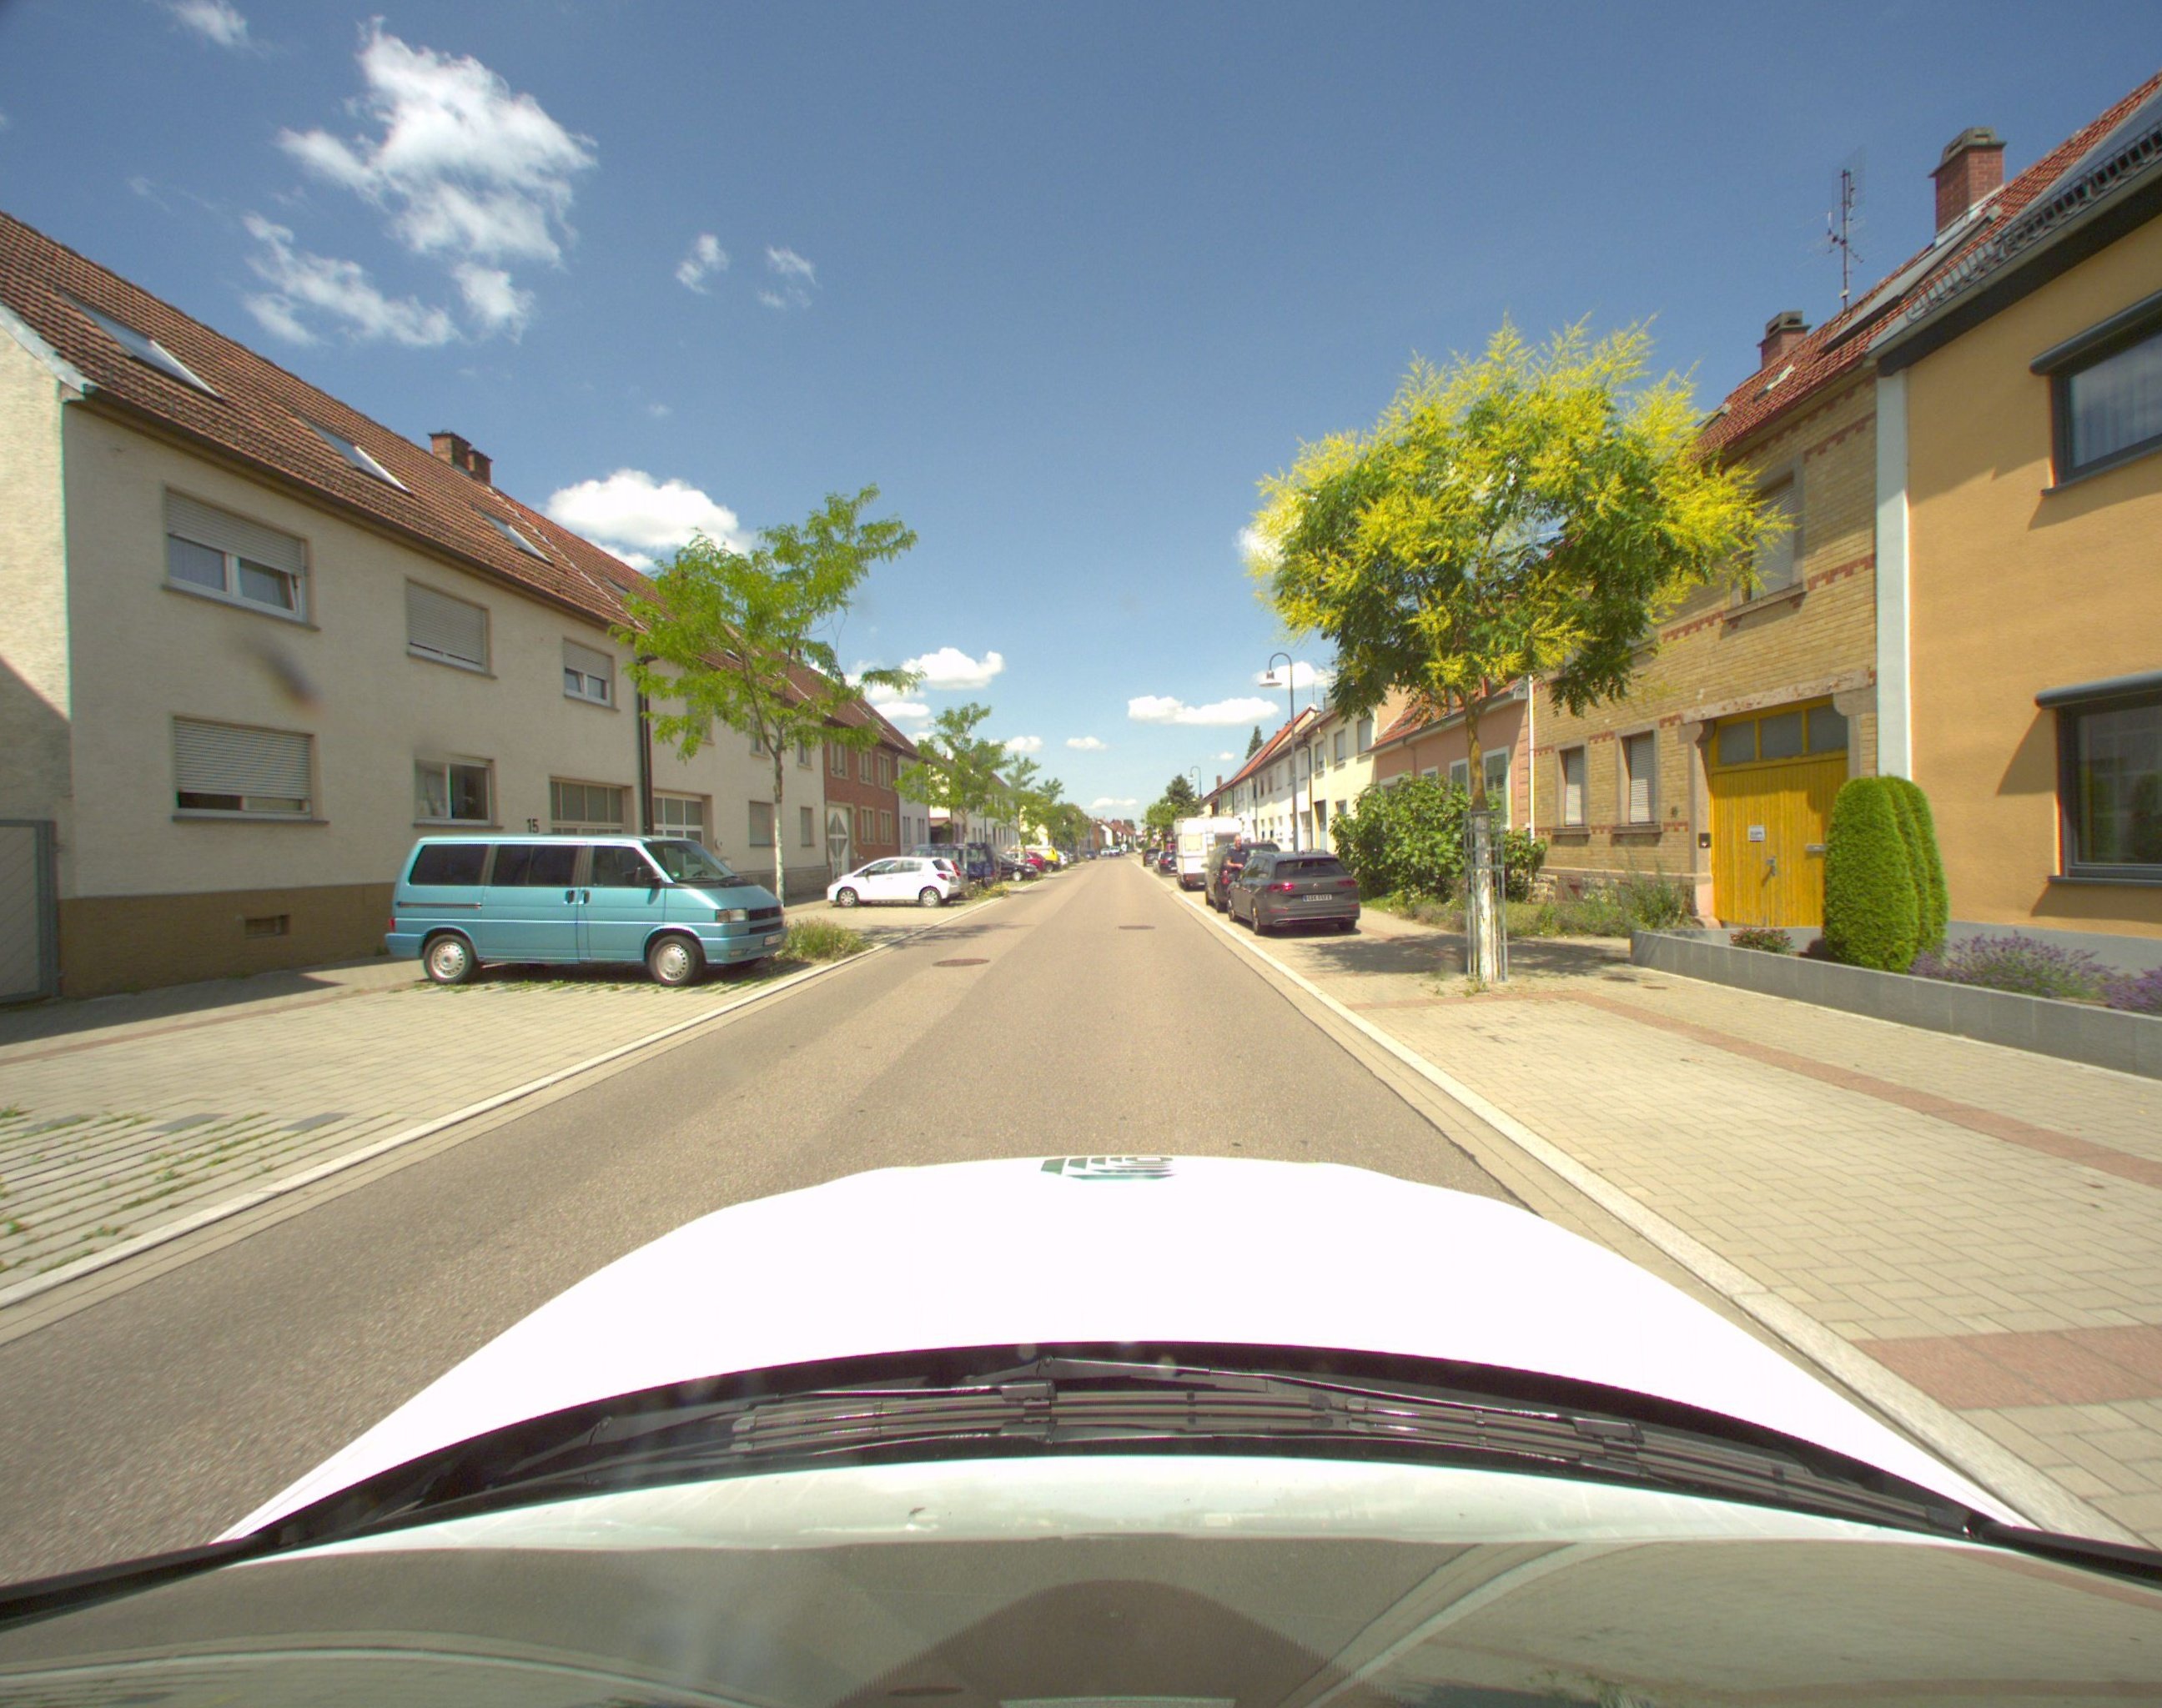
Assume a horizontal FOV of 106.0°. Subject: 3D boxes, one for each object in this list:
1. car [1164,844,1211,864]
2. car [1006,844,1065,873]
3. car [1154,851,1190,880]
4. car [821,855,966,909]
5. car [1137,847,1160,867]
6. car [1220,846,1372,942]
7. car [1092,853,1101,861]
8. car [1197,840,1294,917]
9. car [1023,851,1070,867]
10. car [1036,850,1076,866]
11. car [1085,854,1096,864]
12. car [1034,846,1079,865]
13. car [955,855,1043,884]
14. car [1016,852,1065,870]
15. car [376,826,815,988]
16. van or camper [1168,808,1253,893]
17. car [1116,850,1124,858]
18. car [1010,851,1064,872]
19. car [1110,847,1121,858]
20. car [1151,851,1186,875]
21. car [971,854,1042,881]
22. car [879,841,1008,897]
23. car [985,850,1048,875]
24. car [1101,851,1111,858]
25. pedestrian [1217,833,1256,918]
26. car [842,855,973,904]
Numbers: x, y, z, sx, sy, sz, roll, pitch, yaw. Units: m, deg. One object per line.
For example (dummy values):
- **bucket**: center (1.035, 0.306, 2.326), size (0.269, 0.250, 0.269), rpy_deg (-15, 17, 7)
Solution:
- **car**: center (10.848, 0.014, 83.244), size (4.602, 1.893, 2.021), rpy_deg (-1, -1, 1)
- **car**: center (-3.588, 0.348, 65.406), size (4.490, 2.177, 1.926), rpy_deg (-1, 0, 2)
- **car**: center (5.135, 0.610, 46.209), size (1.759, 1.529, 4.010), rpy_deg (-2, 0, 3)
- **car**: center (-5.660, 0.822, 24.853), size (3.898, 1.488, 1.775), rpy_deg (-1, 0, 4)
- **car**: center (6.087, 0.244, 73.560), size (1.855, 1.635, 4.453), rpy_deg (-5, 1, 5)
- **car**: center (3.851, 0.643, 15.352), size (1.760, 1.488, 4.297), rpy_deg (-2, 0, 1)
- **car**: center (3.237, 0.631, 168.478), size (1.803, 1.609, 4.003), rpy_deg (0, 0, 3)
- **car**: center (4.080, 0.546, 20.849), size (1.759, 1.705, 4.328), rpy_deg (-2, 0, 3)
- **car**: center (-3.265, 0.489, 77.951), size (4.275, 1.468, 1.776), rpy_deg (-2, 0, 4)
- **car**: center (-2.589, 0.391, 84.816), size (4.171, 1.568, 1.773), rpy_deg (-1, 0, -1)
- **car**: center (1.565, 0.754, 132.561), size (1.810, 1.433, 4.140), rpy_deg (1, 2, 0)
- **car**: center (-2.592, 0.201, 87.735), size (4.681, 1.923, 1.939), rpy_deg (-1, 0, 2)
- **car**: center (-4.423, 0.842, 44.383), size (4.506, 1.425, 1.797), rpy_deg (-1, 0, 2)
- **car**: center (-3.485, 0.579, 69.934), size (4.066, 1.468, 1.750), rpy_deg (-2, 0, -6)
- **car**: center (-6.237, 0.655, 10.873), size (4.657, 1.906, 2.002), rpy_deg (-1, 0, 3)
- **van or camper**: center (4.841, -0.158, 31.436), size (2.463, 2.810, 5.794), rpy_deg (-4, 1, 2)
- **car**: center (8.576, 0.015, 179.426), size (1.756, 1.522, 4.051), rpy_deg (-4, 0, 2)
- **car**: center (-3.371, 0.589, 62.954), size (3.994, 1.459, 1.756), rpy_deg (-1, 0, 2)
- **car**: center (6.492, -0.195, 153.642), size (2.015, 1.950, 4.900), rpy_deg (-3, 0, 2)
- **car**: center (5.718, 0.568, 53.627), size (1.826, 1.465, 4.520), rpy_deg (-2, 0, 1)
- **car**: center (-4.385, 0.786, 48.372), size (4.041, 1.478, 1.775), rpy_deg (-1, 0, 0)
- **car**: center (-5.313, 0.573, 31.934), size (4.592, 1.996, 1.955), rpy_deg (-1, 0, 4)
- **car**: center (-4.517, 0.584, 57.513), size (4.237, 1.611, 1.844), rpy_deg (-1, 0, 1)
- **car**: center (5.582, 0.105, 181.375), size (1.841, 1.659, 4.006), rpy_deg (0, 0, 5)
- **pedestrian**: center (3.485, 0.478, 18.249), size (0.713, 1.853, 0.578), rpy_deg (-2, 0, 3)
- **car**: center (-5.745, 0.837, 27.268), size (3.898, 1.488, 1.775), rpy_deg (-1, 0, 4)
